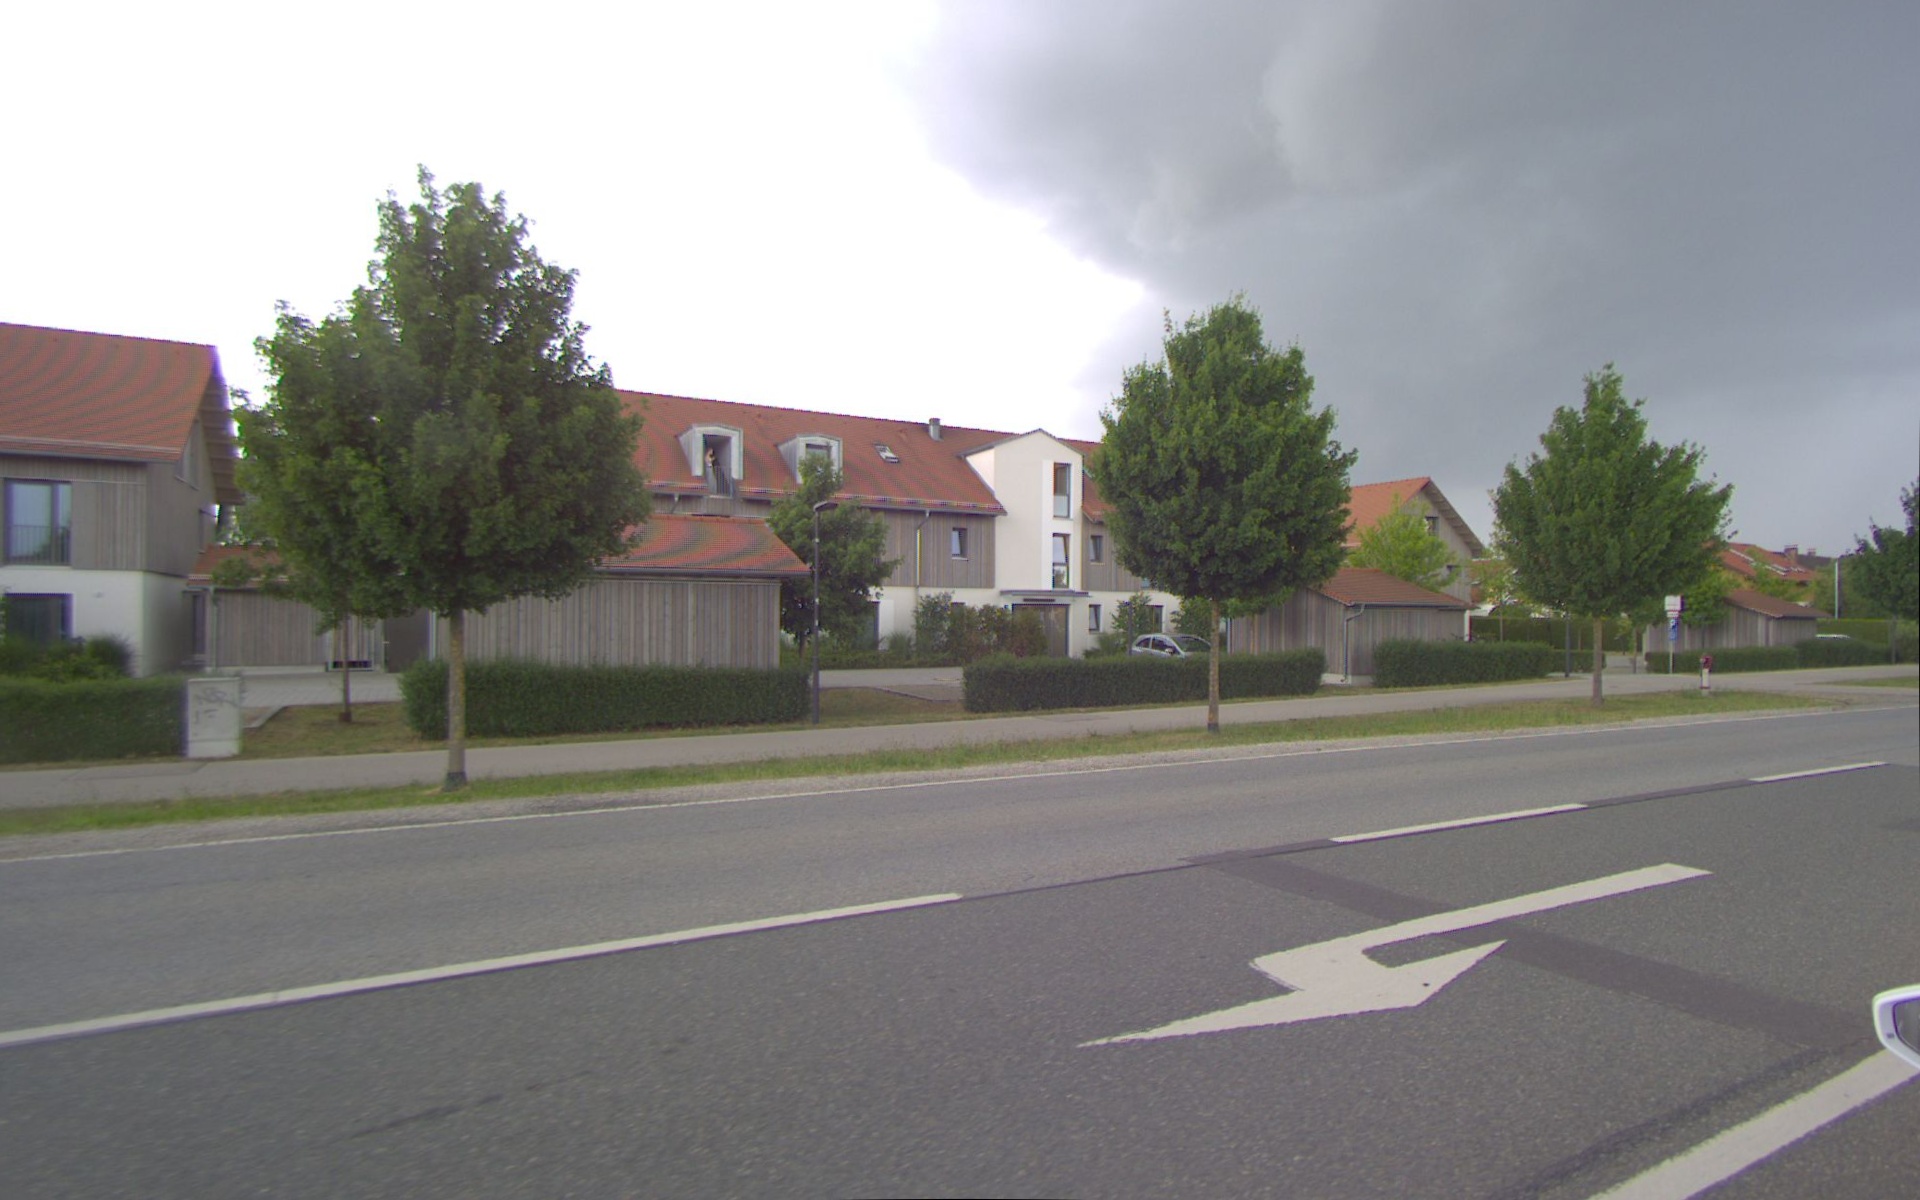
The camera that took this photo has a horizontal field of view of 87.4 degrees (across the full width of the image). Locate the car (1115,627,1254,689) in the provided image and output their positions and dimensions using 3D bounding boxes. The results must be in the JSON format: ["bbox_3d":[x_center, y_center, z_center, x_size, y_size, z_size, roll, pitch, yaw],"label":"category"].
[{"bbox_3d":[6.626,1.656,30.036,1.975,1.577,3.971,1,0,-28],"label":"car"}]
